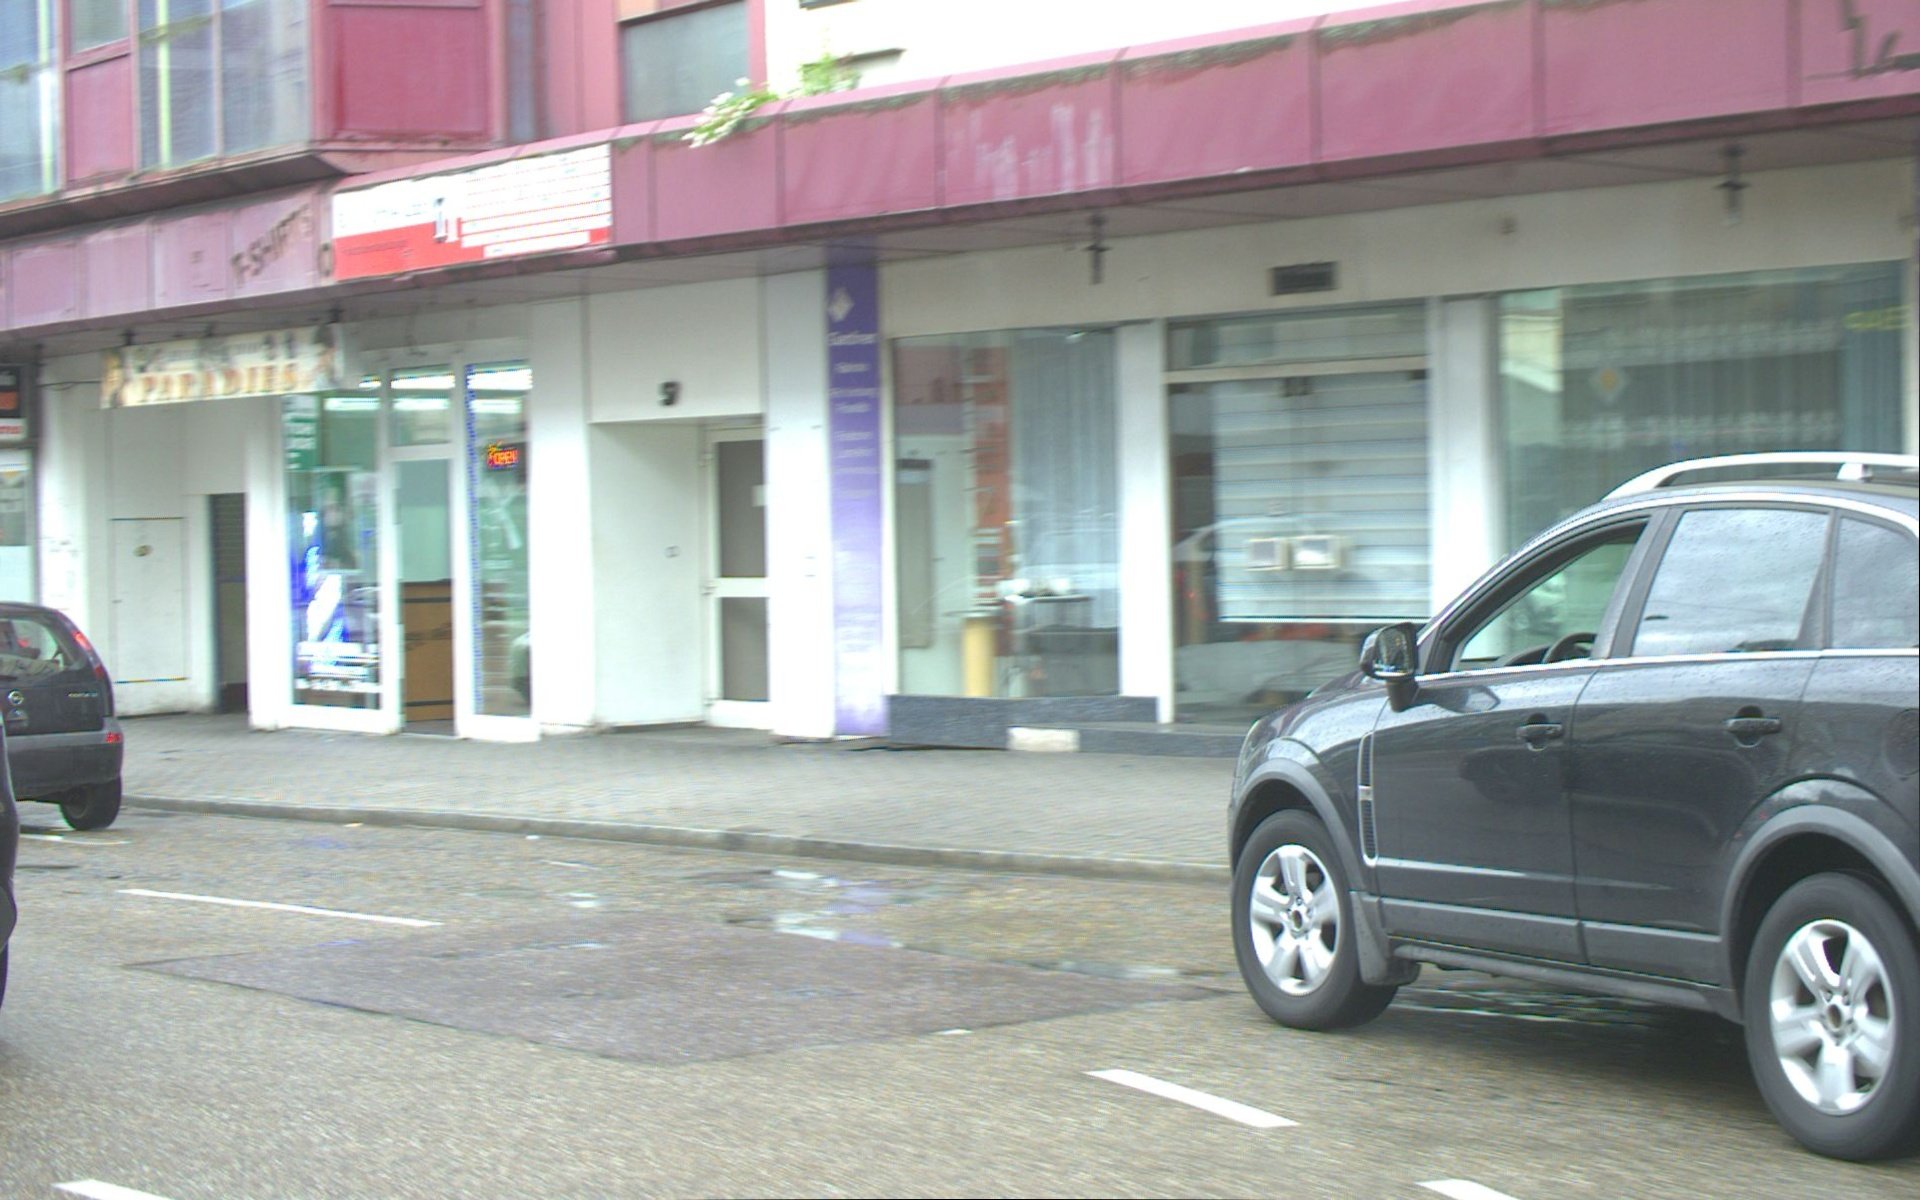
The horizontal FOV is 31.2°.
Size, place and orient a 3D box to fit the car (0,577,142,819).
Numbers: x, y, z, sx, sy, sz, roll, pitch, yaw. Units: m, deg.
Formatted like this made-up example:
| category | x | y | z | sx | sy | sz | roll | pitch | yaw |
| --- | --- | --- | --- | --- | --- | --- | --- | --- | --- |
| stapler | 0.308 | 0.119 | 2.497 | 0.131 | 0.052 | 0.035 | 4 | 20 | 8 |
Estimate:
| category | x | y | z | sx | sy | sz | roll | pitch | yaw |
| --- | --- | --- | --- | --- | --- | --- | --- | --- | --- |
| car | -6.720 | 0.620 | 21.642 | 1.717 | 1.415 | 3.769 | 0 | -1 | -36 |

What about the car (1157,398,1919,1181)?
| category | x | y | z | sx | sy | sz | roll | pitch | yaw |
| --- | --- | --- | --- | --- | --- | --- | --- | --- | --- |
| car | 2.389 | 0.403 | 9.714 | 1.907 | 1.779 | 4.303 | -1 | 1 | -24 |

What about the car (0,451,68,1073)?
| category | x | y | z | sx | sy | sz | roll | pitch | yaw |
| --- | --- | --- | --- | --- | --- | --- | --- | --- | --- |
| car | -4.708 | 0.475 | 11.702 | 2.087 | 1.811 | 4.793 | -2 | 1 | -29 |
